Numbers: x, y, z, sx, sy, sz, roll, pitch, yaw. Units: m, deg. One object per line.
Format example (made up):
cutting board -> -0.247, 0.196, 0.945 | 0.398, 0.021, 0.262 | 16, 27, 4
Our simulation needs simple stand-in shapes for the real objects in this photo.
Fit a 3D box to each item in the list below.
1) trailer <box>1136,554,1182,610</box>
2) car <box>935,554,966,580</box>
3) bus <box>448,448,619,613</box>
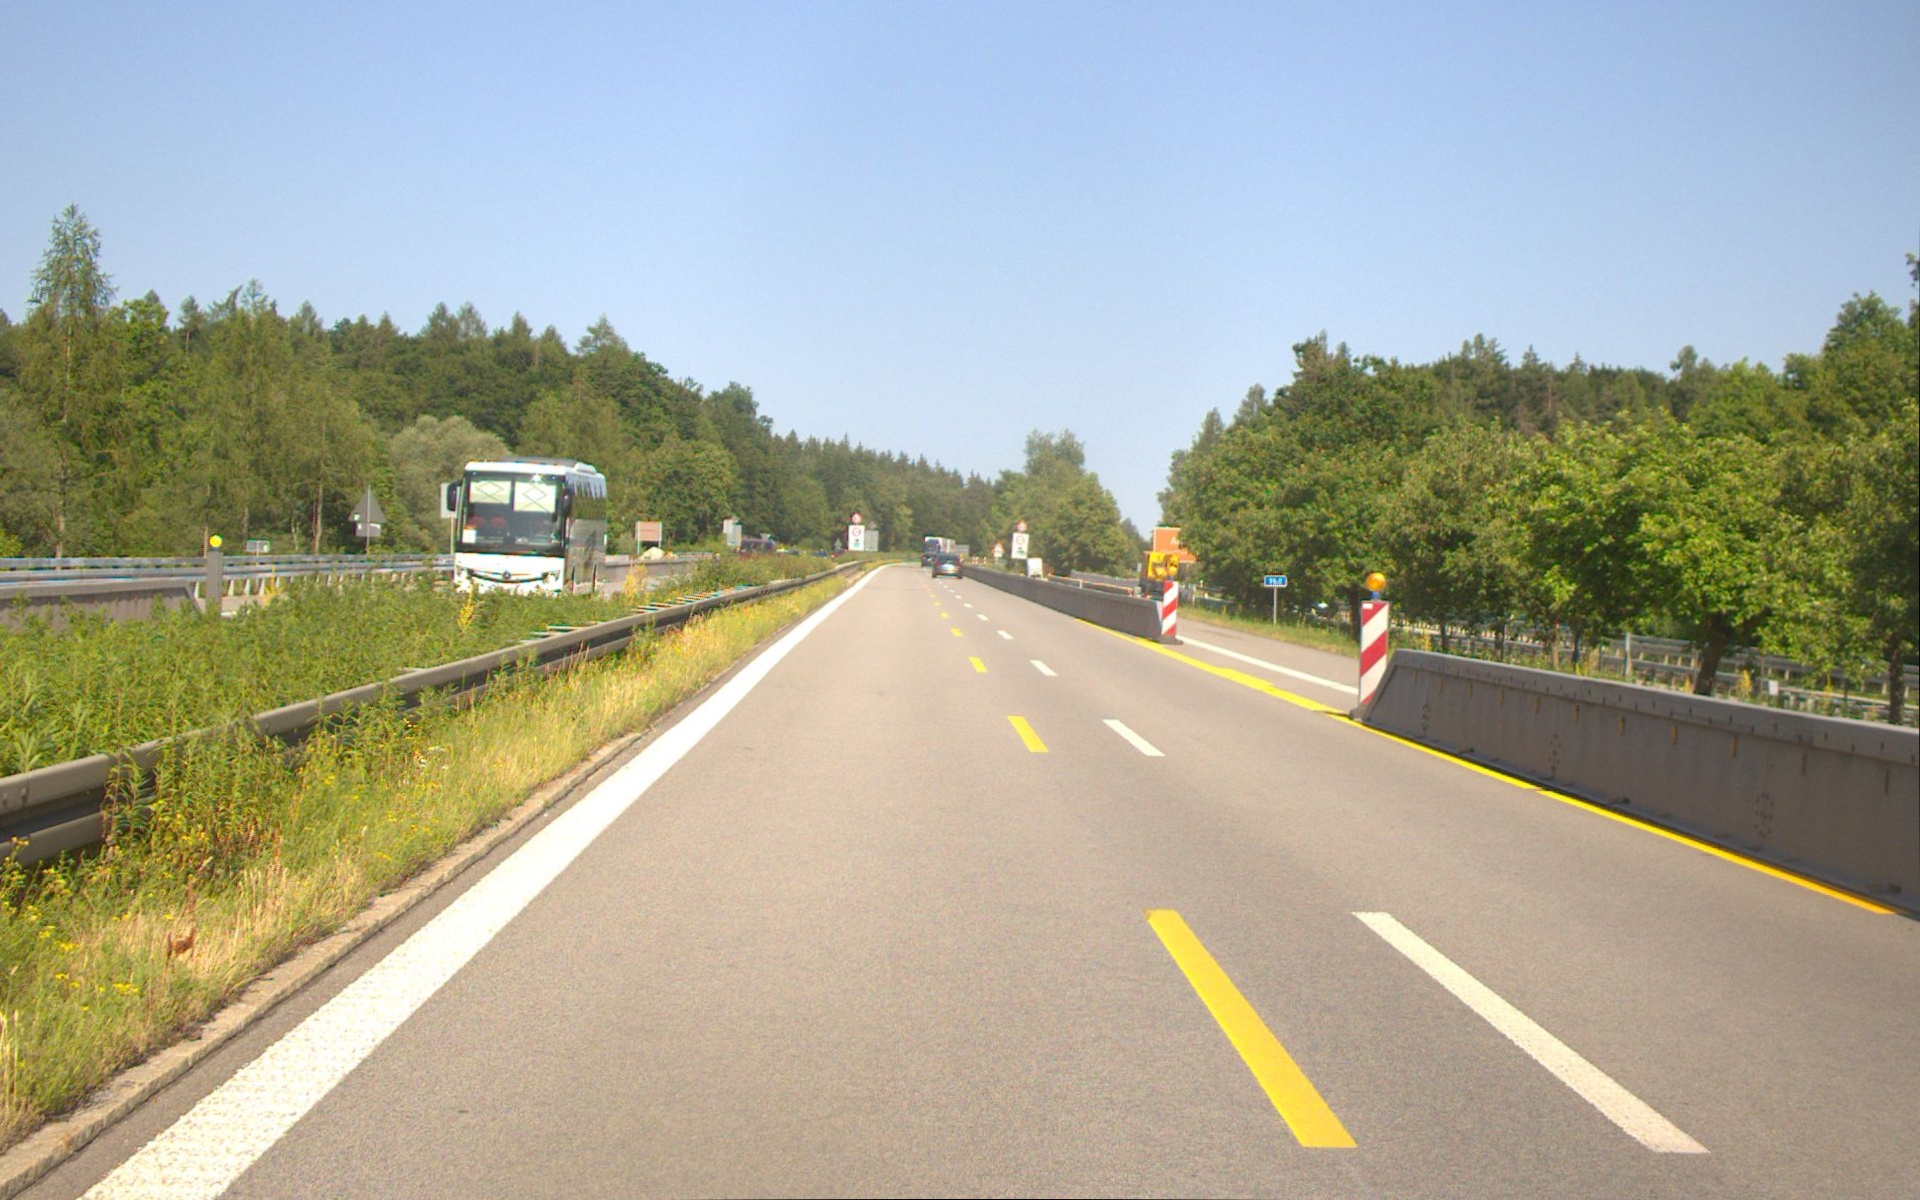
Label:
trailer -> 7.000, -0.652, 121.404 | 1.125, 1.867, 4.001 | 2, 1, -3
car -> -0.570, -1.965, 205.527 | 1.744, 1.461, 4.294 | 2, 1, -1
bus -> -10.450, -1.705, 85.542 | 2.881, 3.658, 12.919 | 3, 1, -2
